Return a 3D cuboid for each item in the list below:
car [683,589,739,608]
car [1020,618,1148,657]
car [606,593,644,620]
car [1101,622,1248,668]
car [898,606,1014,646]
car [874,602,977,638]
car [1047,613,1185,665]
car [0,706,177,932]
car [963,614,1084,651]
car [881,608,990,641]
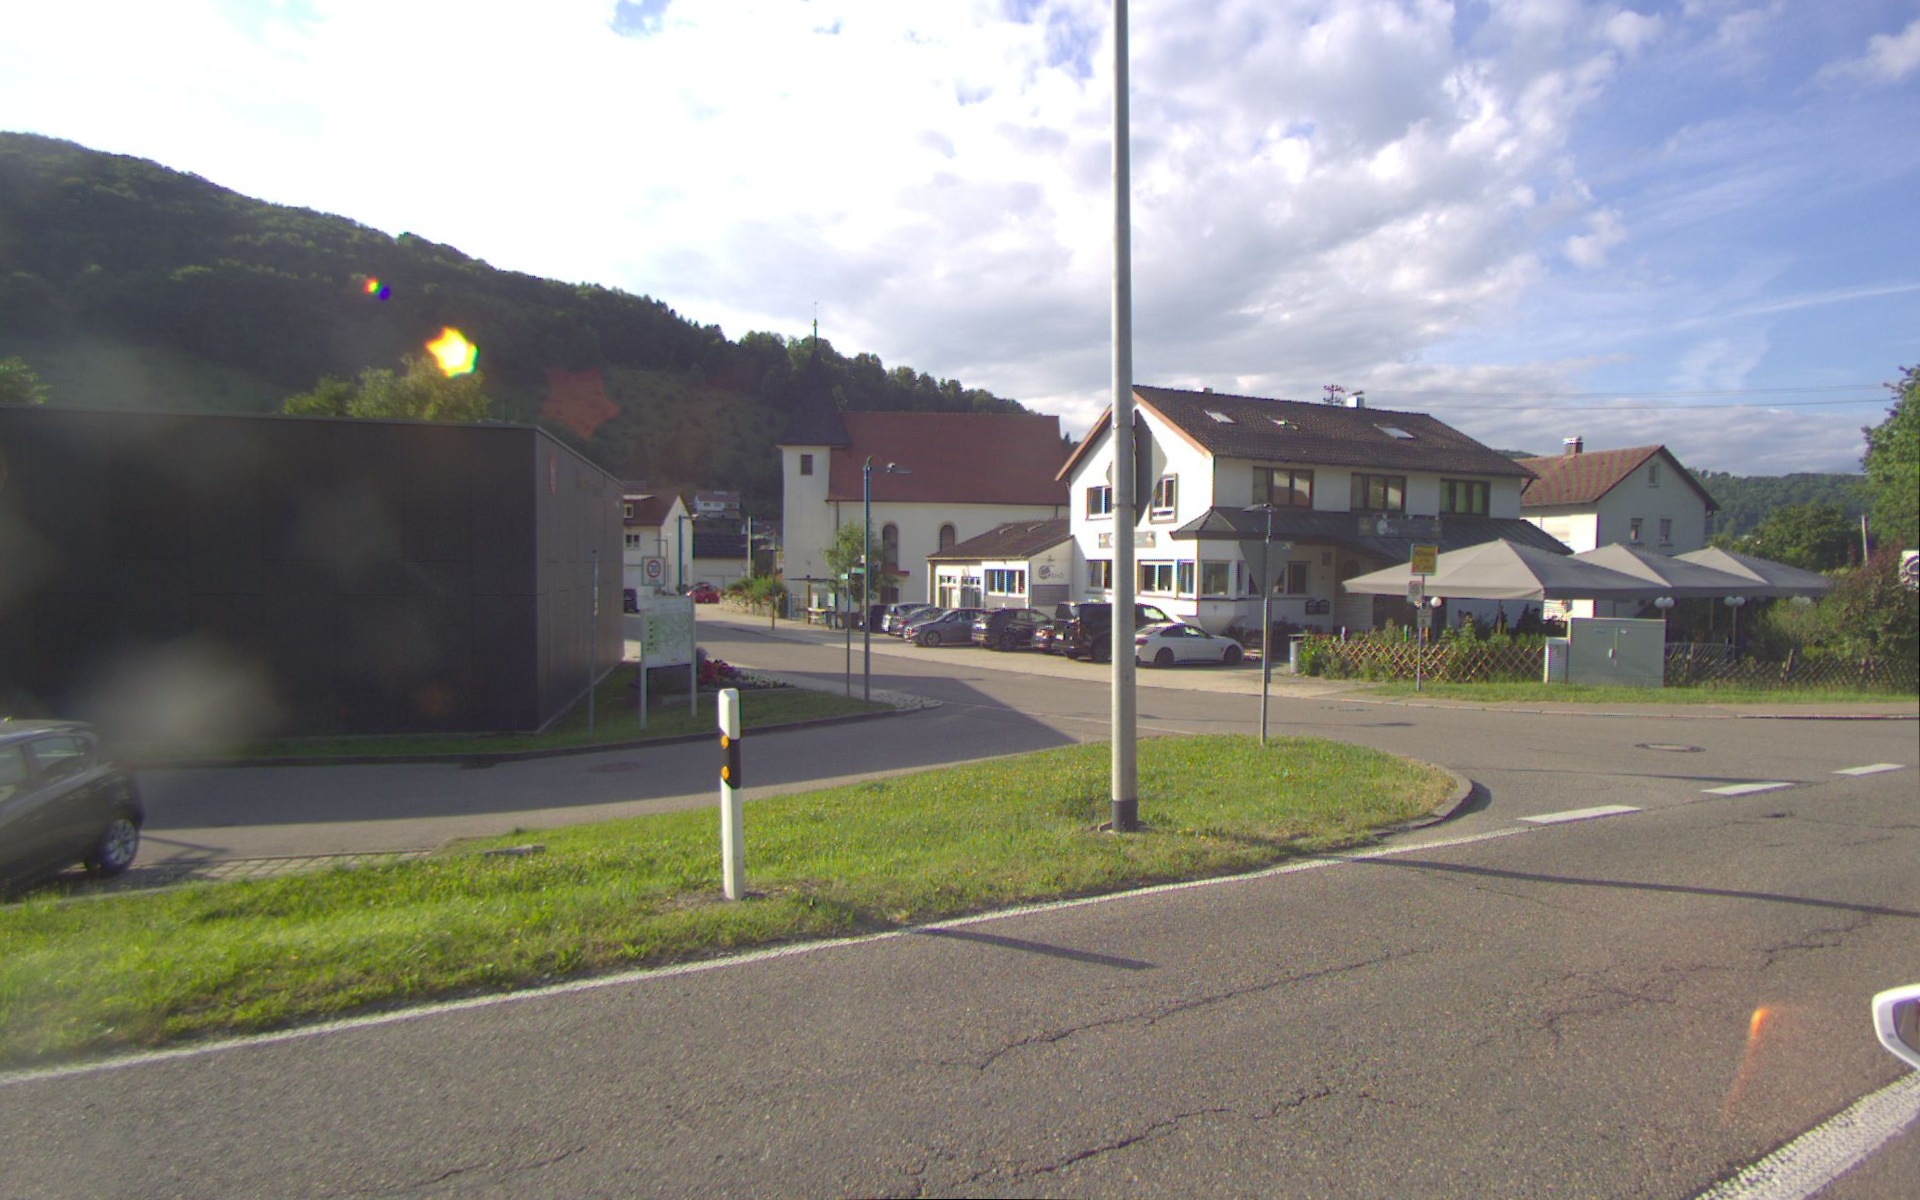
[{"bbox_3d":[-19.981,-0.128,80.726,1.972,1.528,3.977,1,0,43],"label":"car"},{"bbox_3d":[4.727,1.421,38.273,4.518,1.408,1.986,1,-1,-27],"label":"car"},{"bbox_3d":[-22.018,0.405,65.913,1.867,1.706,3.974,0,0,-26],"label":"car"},{"bbox_3d":[7.033,1.450,32.929,4.518,1.408,1.986,1,-1,-27],"label":"car"},{"bbox_3d":[-0.167,1.103,42.315,4.518,1.618,1.986,1,-1,-27],"label":"car"},{"bbox_3d":[-1.648,0.983,48.076,4.518,1.665,1.986,1,-1,-27],"label":"car"},{"bbox_3d":[5.472,1.327,35.124,4.518,1.707,1.986,1,-1,-27],"label":"car"},{"bbox_3d":[-8.444,1.805,8.045,1.801,1.555,3.992,1,-1,-12],"label":"car"},{"bbox_3d":[2.549,1.284,40.171,4.518,1.431,1.986,1,-1,-27],"label":"car"},{"bbox_3d":[-1.105,1.098,45.478,4.518,1.431,1.986,1,-1,-27],"label":"car"}]
